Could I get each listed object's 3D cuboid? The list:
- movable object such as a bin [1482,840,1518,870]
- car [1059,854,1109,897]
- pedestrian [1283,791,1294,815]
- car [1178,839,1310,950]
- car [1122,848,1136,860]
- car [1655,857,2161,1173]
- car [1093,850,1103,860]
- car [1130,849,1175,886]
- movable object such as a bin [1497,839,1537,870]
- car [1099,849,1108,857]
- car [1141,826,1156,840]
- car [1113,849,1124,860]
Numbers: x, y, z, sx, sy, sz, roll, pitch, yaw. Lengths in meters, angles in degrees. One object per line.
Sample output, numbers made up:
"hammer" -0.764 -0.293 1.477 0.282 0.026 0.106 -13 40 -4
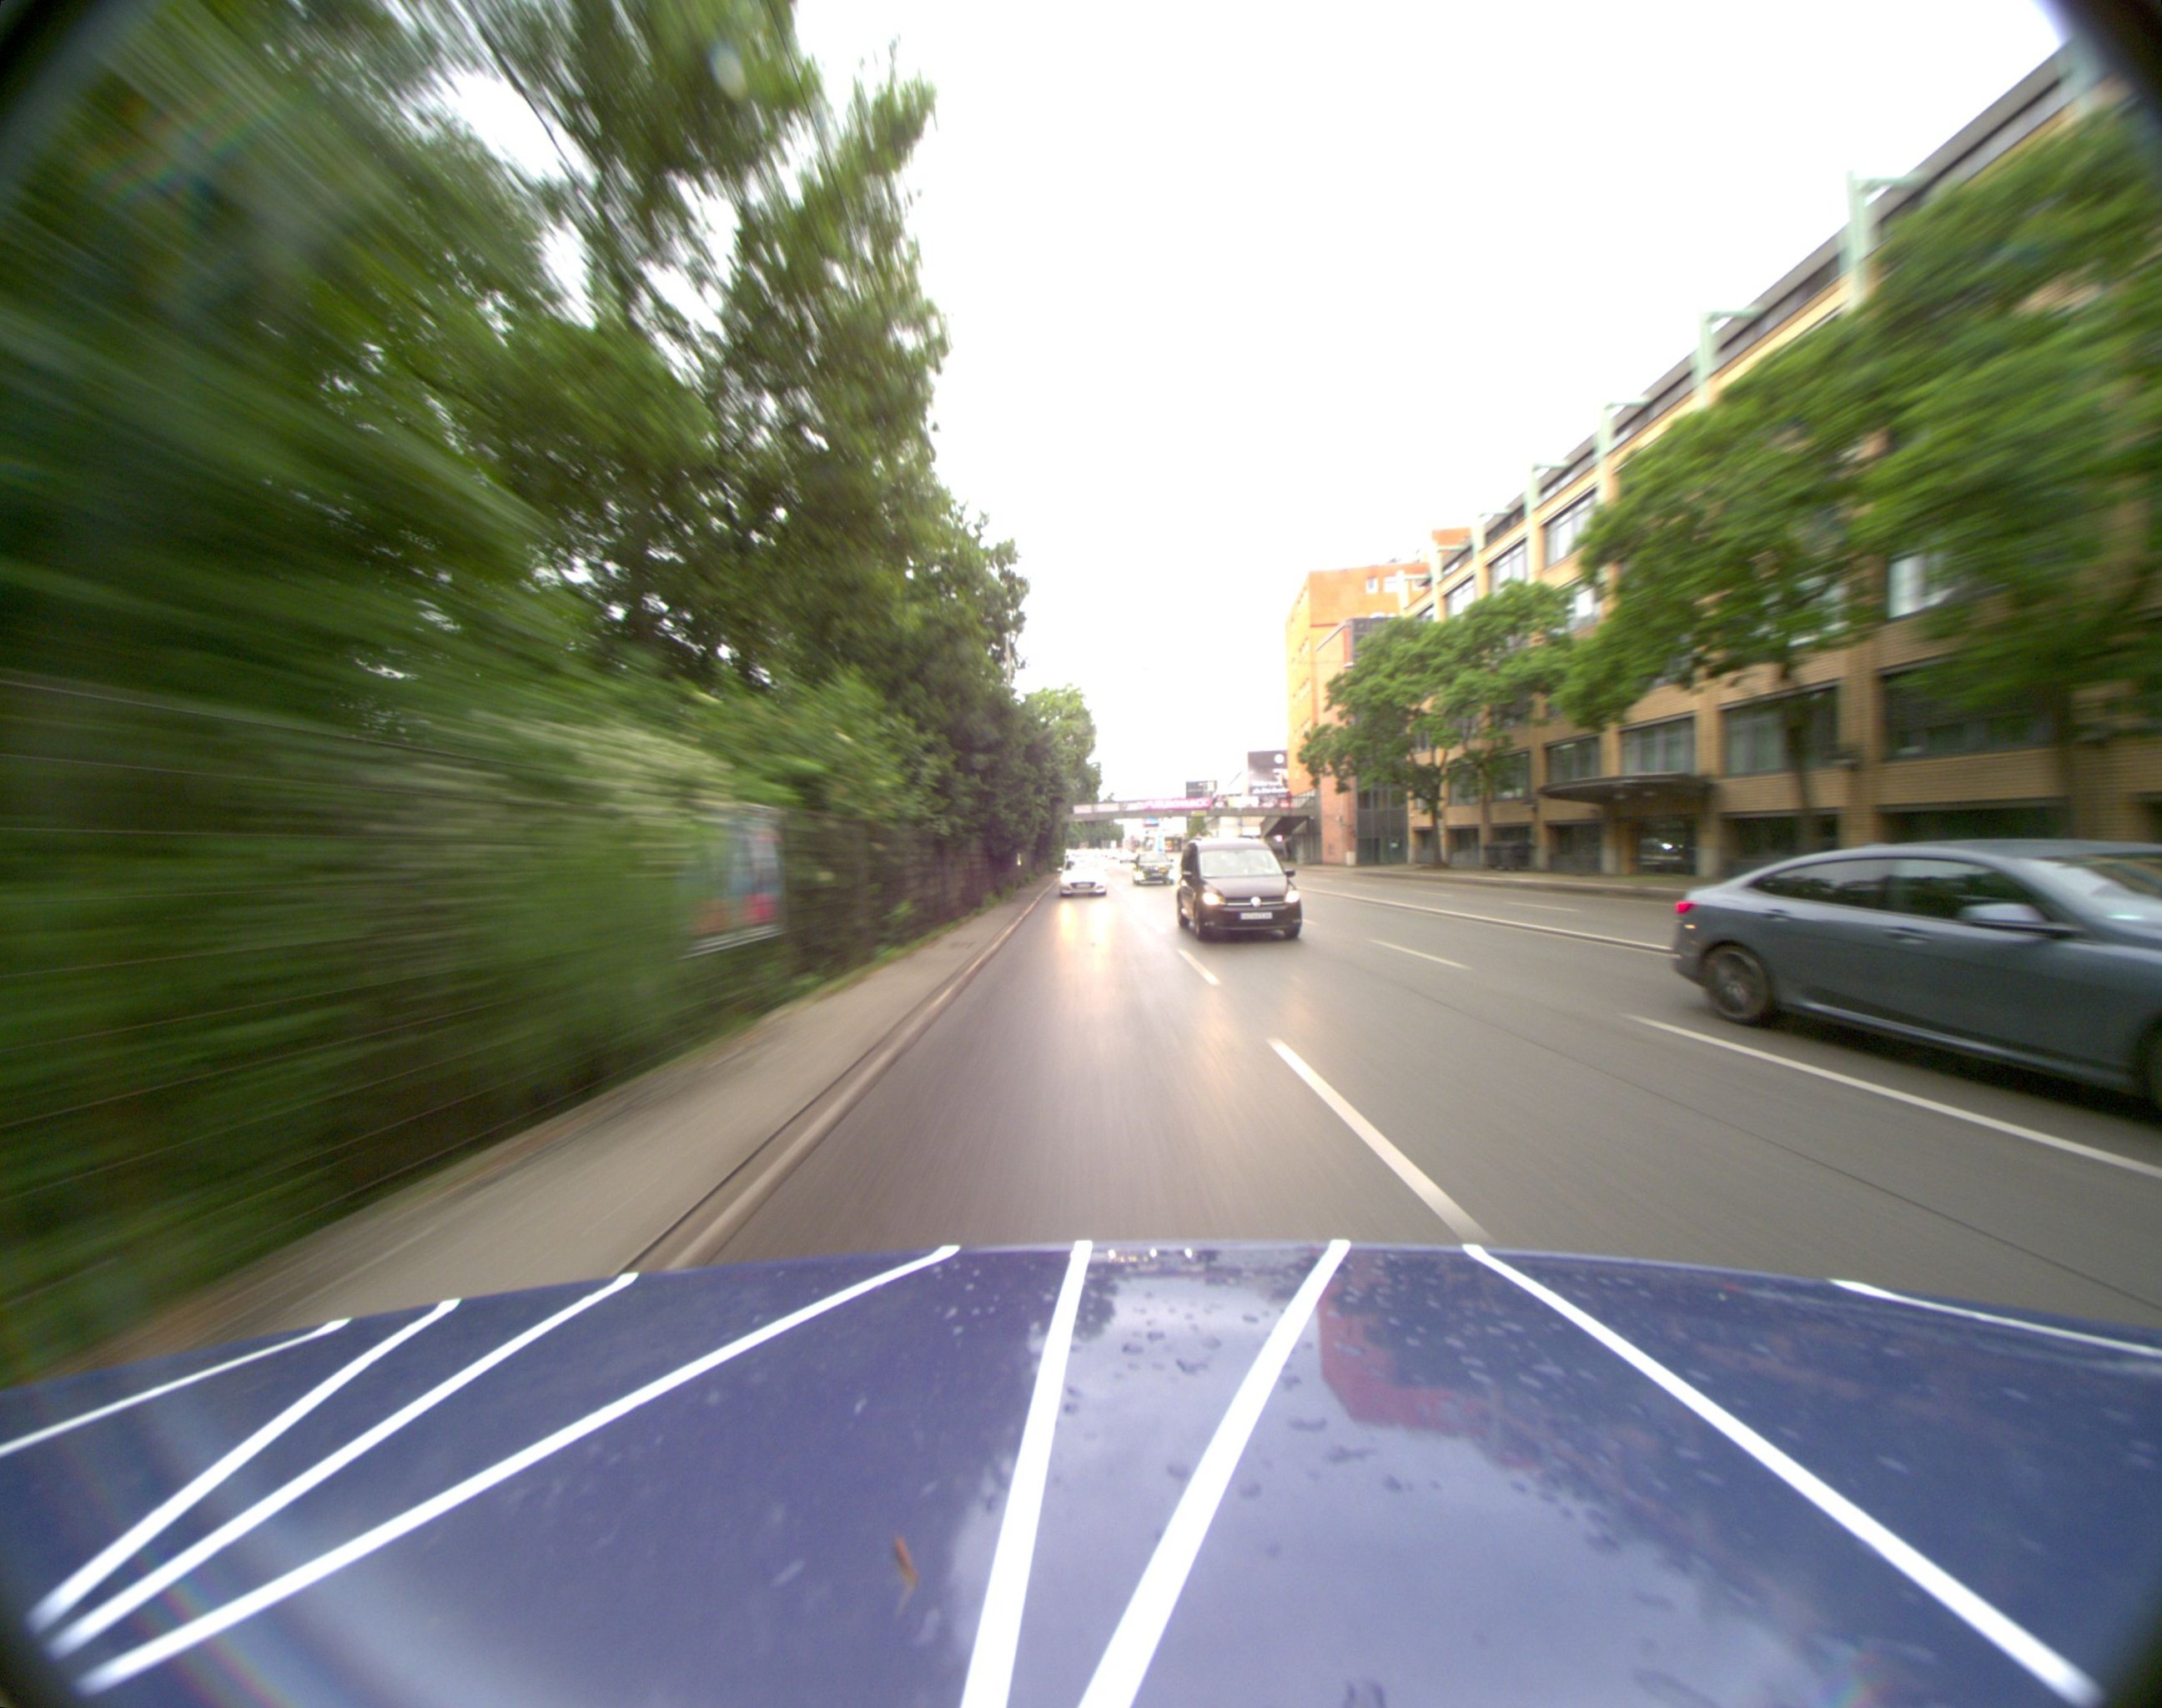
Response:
"movable object such as a bin" 20.893 0.033 37.918 0.975 1.428 1.313 -3 1 -4
"car" 0.102 0.790 29.586 1.731 1.431 3.999 -3 1 0
"pedestrian" 19.539 -4.790 71.503 0.833 2.242 0.738 -1 2 -5
"car" 2.868 0.654 14.212 1.841 1.780 4.001 0 0 4
"car" 6.677 -0.058 105.839 1.730 1.502 3.732 -2 1 5
"car" 5.915 0.770 4.485 1.669 1.407 4.539 -1 1 1
"car" 3.310 0.268 150.849 1.878 1.762 3.999 -3 1 1
"car" 3.451 0.601 37.090 1.731 1.604 3.999 -3 1 0
"movable object such as a bin" 20.965 0.027 36.565 1.071 1.428 1.372 -3 1 -4
"car" 5.397 -0.241 181.539 1.878 1.762 3.999 -3 1 1
"car" 8.807 -2.750 99.287 1.823 1.602 4.001 -3 1 6
"car" 6.851 0.097 139.068 1.878 1.762 3.999 -3 1 1
